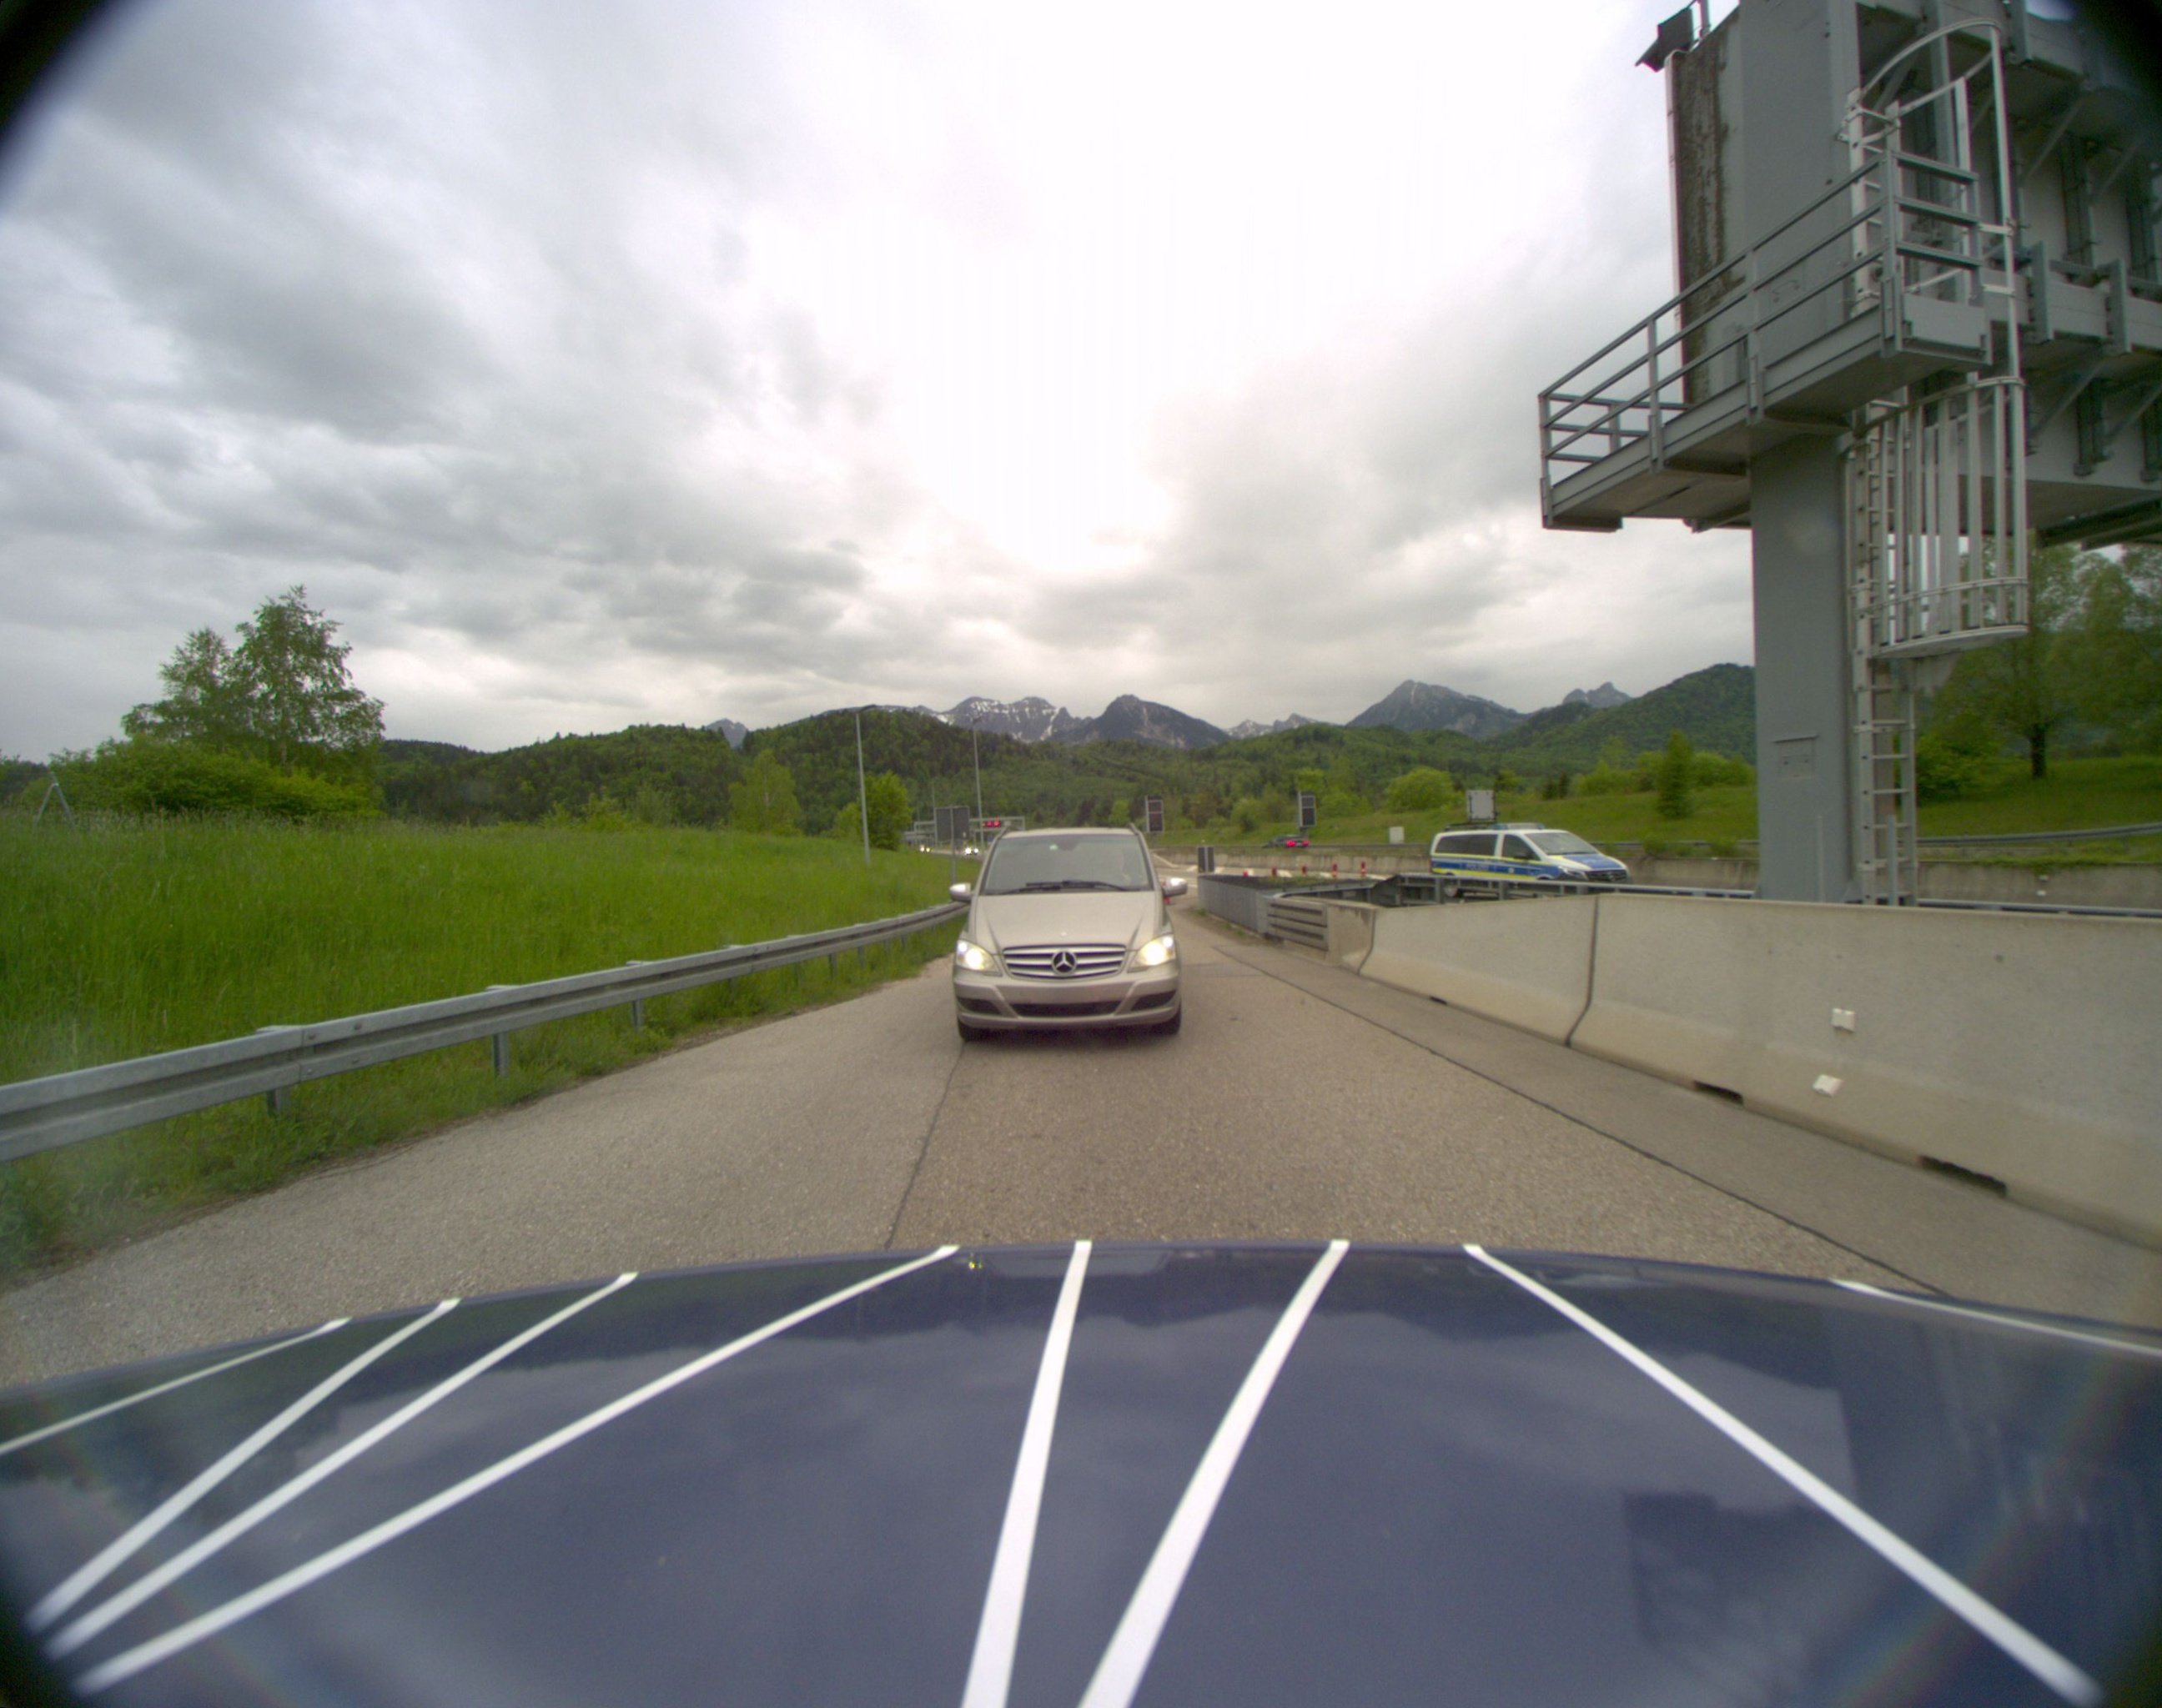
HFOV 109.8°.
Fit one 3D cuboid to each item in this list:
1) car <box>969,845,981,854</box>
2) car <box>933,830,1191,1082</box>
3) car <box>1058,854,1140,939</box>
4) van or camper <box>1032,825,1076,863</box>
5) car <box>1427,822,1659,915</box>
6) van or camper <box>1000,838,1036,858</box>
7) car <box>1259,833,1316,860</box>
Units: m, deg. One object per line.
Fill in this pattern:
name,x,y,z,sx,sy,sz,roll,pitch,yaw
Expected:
car,-20.592,-0.892,147.632,1.722,1.629,4.342,-1,1,-14
car,-0.104,0.717,8.406,1.862,1.833,5.616,-1,1,1
car,0.404,0.853,17.179,1.591,1.662,4.000,-1,0,1
van or camper,-2.694,-0.942,72.844,2.585,3.372,7.345,-2,1,-14
car,11.327,0.283,19.184,2.106,2.002,5.045,-2,1,-13
van or camper,-8.546,-0.807,102.056,3.345,2.629,8.189,-1,1,-15
car,16.012,-0.569,59.273,1.992,1.944,5.102,-1,1,-15
